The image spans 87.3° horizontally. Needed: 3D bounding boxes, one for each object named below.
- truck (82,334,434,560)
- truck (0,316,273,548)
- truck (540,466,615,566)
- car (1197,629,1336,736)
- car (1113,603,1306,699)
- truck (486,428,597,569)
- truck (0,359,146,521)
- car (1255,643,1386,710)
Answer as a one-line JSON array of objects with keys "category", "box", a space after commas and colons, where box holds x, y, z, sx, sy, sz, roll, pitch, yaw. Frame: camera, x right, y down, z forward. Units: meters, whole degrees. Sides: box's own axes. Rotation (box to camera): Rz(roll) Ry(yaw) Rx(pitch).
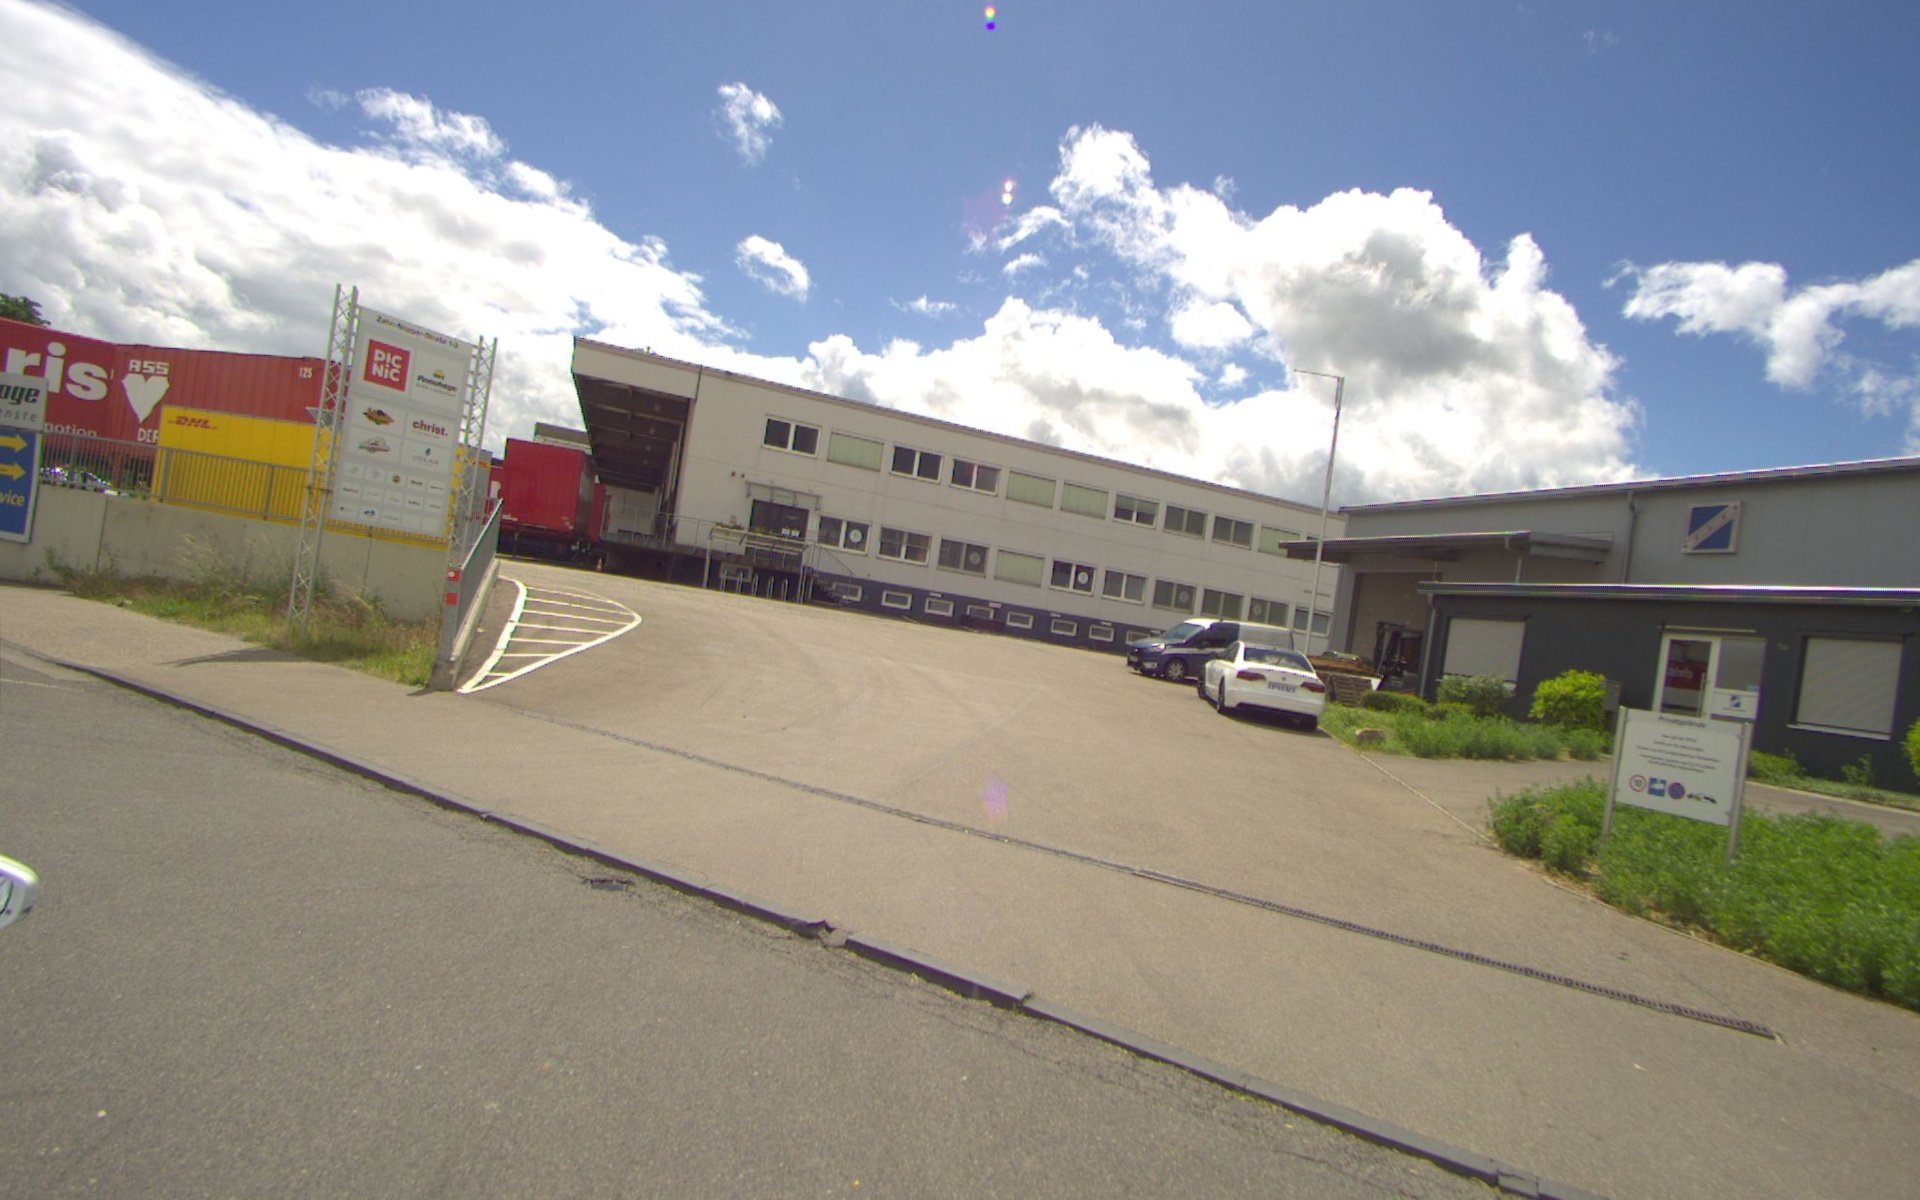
[{"category": "truck", "box": [-16.648, -3.619, 23.834, 7.718, 4.500, 2.584, 5, -2, 21]}, {"category": "truck", "box": [-23.062, -4.354, 25.880, 8.410, 4.723, 2.557, 8, -3, -38]}, {"category": "truck", "box": [-20.073, -4.219, 53.237, 2.956, 4.105, 8.451, 7, -3, -18]}, {"category": "car", "box": [6.075, 1.556, 20.458, 1.824, 1.410, 4.345, 9, 3, 7]}, {"category": "car", "box": [6.938, 1.414, 28.017, 4.753, 1.881, 1.852, 9, 0, -17]}, {"category": "truck", "box": [-15.895, -3.609, 38.815, 2.956, 4.105, 8.451, 7, -3, -18]}, {"category": "truck", "box": [-33.294, -5.761, 33.908, 2.548, 4.723, 8.441, 4, -3, 42]}, {"category": "car", "box": [11.290, 2.357, 31.817, 1.658, 1.474, 4.004, 8, 0, -18]}]
